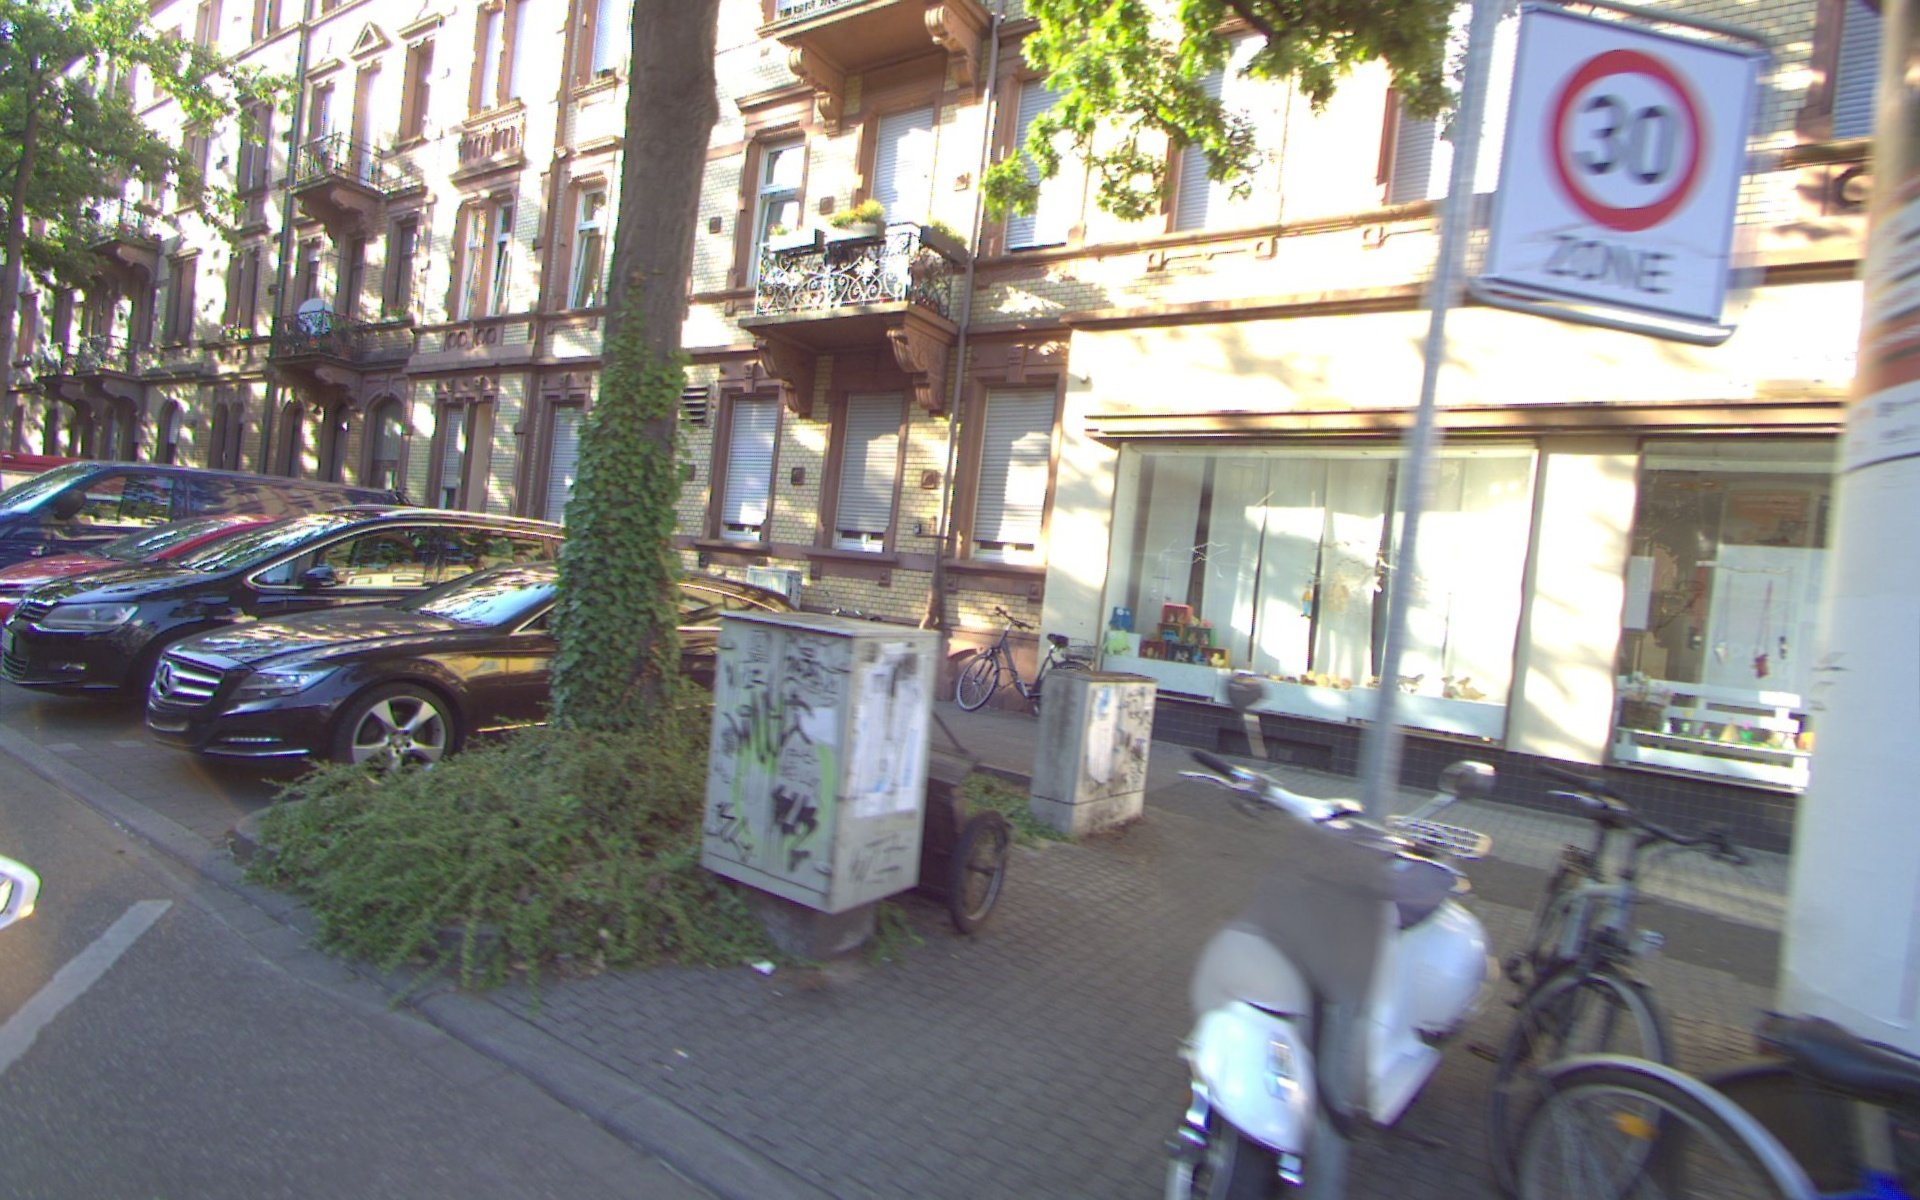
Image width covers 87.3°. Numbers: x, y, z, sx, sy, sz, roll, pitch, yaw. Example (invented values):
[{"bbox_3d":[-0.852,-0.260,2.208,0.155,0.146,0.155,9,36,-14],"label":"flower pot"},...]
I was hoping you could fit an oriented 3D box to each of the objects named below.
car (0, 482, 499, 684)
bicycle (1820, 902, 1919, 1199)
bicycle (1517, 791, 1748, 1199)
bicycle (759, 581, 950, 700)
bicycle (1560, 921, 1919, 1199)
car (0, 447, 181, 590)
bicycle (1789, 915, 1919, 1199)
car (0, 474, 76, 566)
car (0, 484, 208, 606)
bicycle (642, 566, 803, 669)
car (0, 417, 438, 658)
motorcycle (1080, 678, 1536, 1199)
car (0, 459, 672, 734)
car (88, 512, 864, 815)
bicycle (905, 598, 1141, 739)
[{"bbox_3d":[-7.064,-0.064,10.021,1.697,1.553,4.107,6,0,35],"label":"car"},{"bbox_3d":[2.680,1.270,1.922,1.501,0.940,0.353,6,3,36],"label":"bicycle"},{"bbox_3d":[1.923,1.185,2.936,0.349,0.940,1.929,6,2,33],"label":"bicycle"},{"bbox_3d":[-1.379,0.470,12.659,2.553,1.187,0.669,6,3,37],"label":"bicycle"},{"bbox_3d":[1.654,1.178,1.445,0.350,0.940,1.404,3,2,-25],"label":"bicycle"},{"bbox_3d":[-15.370,-1.362,15.698,1.847,2.060,4.676,6,2,31],"label":"car"},{"bbox_3d":[2.358,1.235,1.665,1.504,0.940,0.352,6,3,42],"label":"bicycle"},{"bbox_3d":[-19.361,-1.655,18.627,1.809,1.649,4.181,7,2,37],"label":"car"},{"bbox_3d":[-13.276,-0.831,14.031,1.849,1.530,4.053,6,2,34],"label":"car"},{"bbox_3d":[-3.382,0.218,14.172,2.553,1.187,0.669,6,3,37],"label":"bicycle"},{"bbox_3d":[-9.204,-0.606,11.791,1.960,2.242,5.025,6,0,33],"label":"car"},{"bbox_3d":[1.137,0.923,2.929,0.675,1.250,1.896,7,2,34],"label":"motorcycle"},{"bbox_3d":[-5.049,0.028,8.592,1.824,1.701,4.680,6,1,39],"label":"car"},{"bbox_3d":[-3.032,0.378,7.380,1.823,1.431,4.781,6,1,37],"label":"car"},{"bbox_3d":[0.630,0.693,11.044,2.553,1.187,0.669,6,3,37],"label":"bicycle"}]
